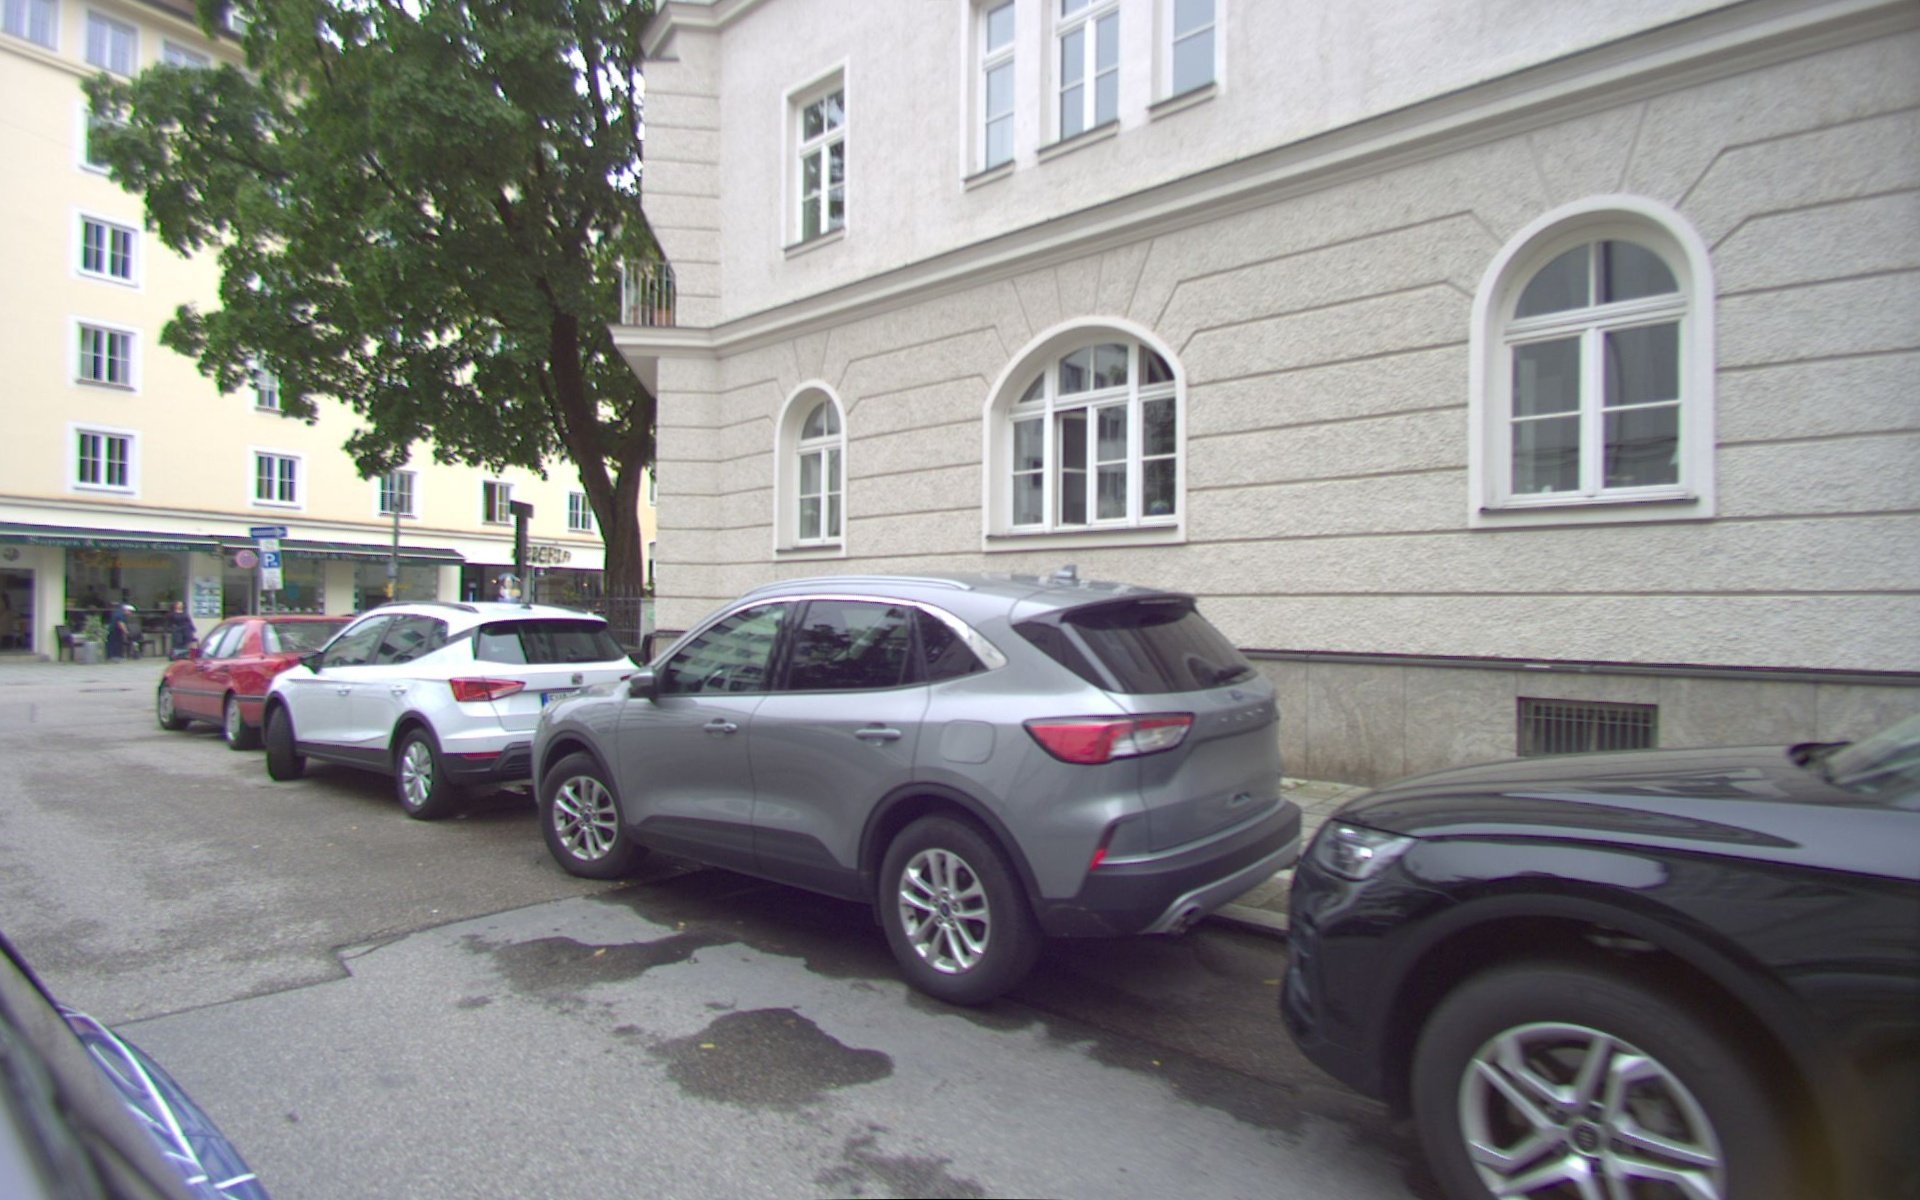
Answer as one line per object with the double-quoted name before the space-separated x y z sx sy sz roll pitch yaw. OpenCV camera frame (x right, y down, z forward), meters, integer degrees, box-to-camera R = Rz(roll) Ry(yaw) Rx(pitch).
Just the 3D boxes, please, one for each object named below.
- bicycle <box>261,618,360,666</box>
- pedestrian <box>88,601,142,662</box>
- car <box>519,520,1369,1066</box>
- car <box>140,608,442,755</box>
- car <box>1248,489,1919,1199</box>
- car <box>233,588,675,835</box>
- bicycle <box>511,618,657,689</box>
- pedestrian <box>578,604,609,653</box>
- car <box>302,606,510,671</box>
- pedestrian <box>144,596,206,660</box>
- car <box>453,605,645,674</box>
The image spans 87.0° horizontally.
"bicycle" -17.032 1.100 26.592 2.117 1.211 0.812 2 -2 -29
"pedestrian" -22.845 0.840 27.374 0.907 1.623 0.778 0 -1 -19
"car" -0.353 0.626 5.198 4.209 1.690 1.818 -1 -1 40
"car" -7.886 0.823 11.764 4.474 1.403 1.664 -1 -2 39
"car" 2.982 0.613 1.751 4.433 1.611 1.856 -1 -1 43
"car" -4.282 0.710 8.342 3.944 1.580 1.679 0 0 37
"bicycle" -6.634 0.907 17.821 2.636 1.172 0.800 0 -1 25
"pedestrian" -13.832 1.069 38.209 0.846 1.803 0.778 0 -1 7
"car" -14.628 0.998 26.977 2.020 1.494 4.444 -5 -3 29
"pedestrian" -21.518 0.758 27.765 0.868 1.689 1.113 -1 -1 32
"car" -9.683 0.872 24.146 1.788 1.469 3.957 1 0 32
